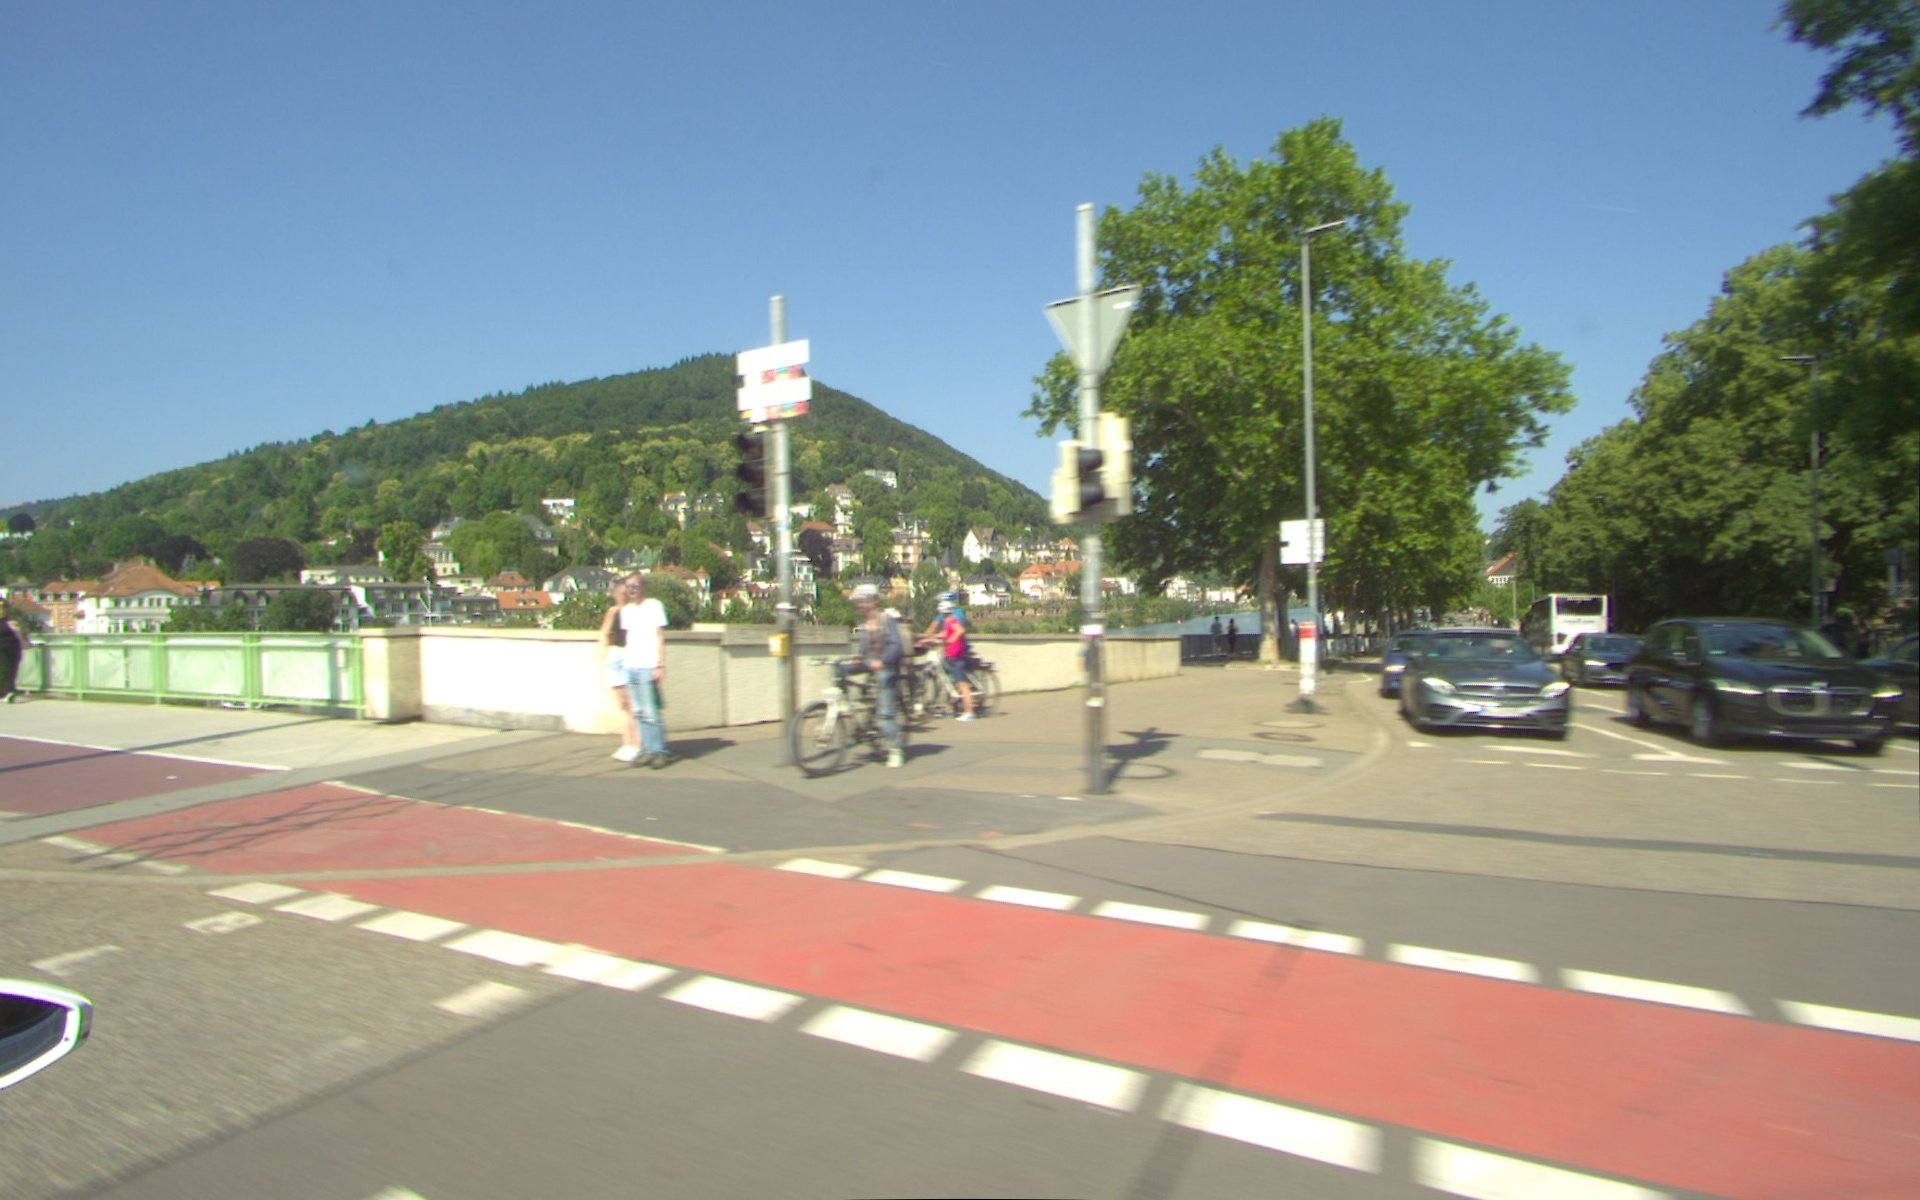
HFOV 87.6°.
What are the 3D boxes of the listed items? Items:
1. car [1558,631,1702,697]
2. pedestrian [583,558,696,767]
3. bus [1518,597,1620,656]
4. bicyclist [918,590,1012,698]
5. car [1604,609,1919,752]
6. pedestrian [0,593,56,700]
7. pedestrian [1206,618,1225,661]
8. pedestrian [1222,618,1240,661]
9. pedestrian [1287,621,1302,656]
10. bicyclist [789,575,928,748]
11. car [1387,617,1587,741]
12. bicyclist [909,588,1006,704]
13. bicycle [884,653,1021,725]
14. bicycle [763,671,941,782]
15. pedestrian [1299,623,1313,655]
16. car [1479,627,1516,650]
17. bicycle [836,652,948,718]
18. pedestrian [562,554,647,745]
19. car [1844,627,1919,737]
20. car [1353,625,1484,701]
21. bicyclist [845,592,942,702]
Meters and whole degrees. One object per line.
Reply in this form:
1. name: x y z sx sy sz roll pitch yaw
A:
1. car: 16.681 1.543 25.179 1.814 1.461 4.480 -1 -1 18
2. pedestrian: -3.030 0.572 9.495 0.635 1.880 0.772 -1 0 31
3. bus: 32.185 1.333 53.305 3.057 2.819 8.832 -2 -1 22
4. bicyclist: 0.074 0.631 14.566 0.916 1.493 1.076 -1 -1 36
5. car: 10.159 0.922 13.088 1.814 1.525 4.480 -1 -1 18
6. pedestrian: -15.264 0.736 16.054 0.934 1.656 0.799 -2 0 23
7. pedestrian: 10.675 1.641 41.869 0.665 1.798 0.740 -1 -1 23
8. pedestrian: 11.476 1.682 42.399 0.665 1.798 0.740 -1 -1 23
9. pedestrian: 17.293 1.971 51.767 0.665 1.798 0.740 -1 -1 23
10. bicyclist: -0.926 0.555 9.315 0.789 1.493 1.078 -1 -1 32
11. car: 7.483 1.027 14.681 1.814 1.414 4.477 -2 0 18
12. bicyclist: -0.035 0.608 13.555 1.071 1.493 0.756 1 -1 -39
13. bicycle: -0.075 1.169 13.464 1.922 0.864 0.561 1 -2 -38
14. bicycle: -0.939 1.119 9.260 0.557 0.837 1.935 -1 -2 32
15. pedestrian: 19.295 2.164 55.860 0.665 1.798 0.740 -1 -1 23
16. car: 29.611 2.095 55.217 1.732 1.238 3.284 -1 -2 27
17. bicycle: -0.935 1.188 14.334 0.557 0.837 1.935 -1 -2 32
18. pedestrian: -3.462 0.473 9.760 0.568 1.783 0.533 -1 0 31
19. car: 12.949 1.021 12.188 1.850 1.375 4.308 -1 -2 21
20. car: 9.865 1.294 21.889 1.813 1.466 4.483 -1 -1 14
21. bicyclist: -0.946 0.663 14.308 0.915 1.493 1.077 -1 -1 35
